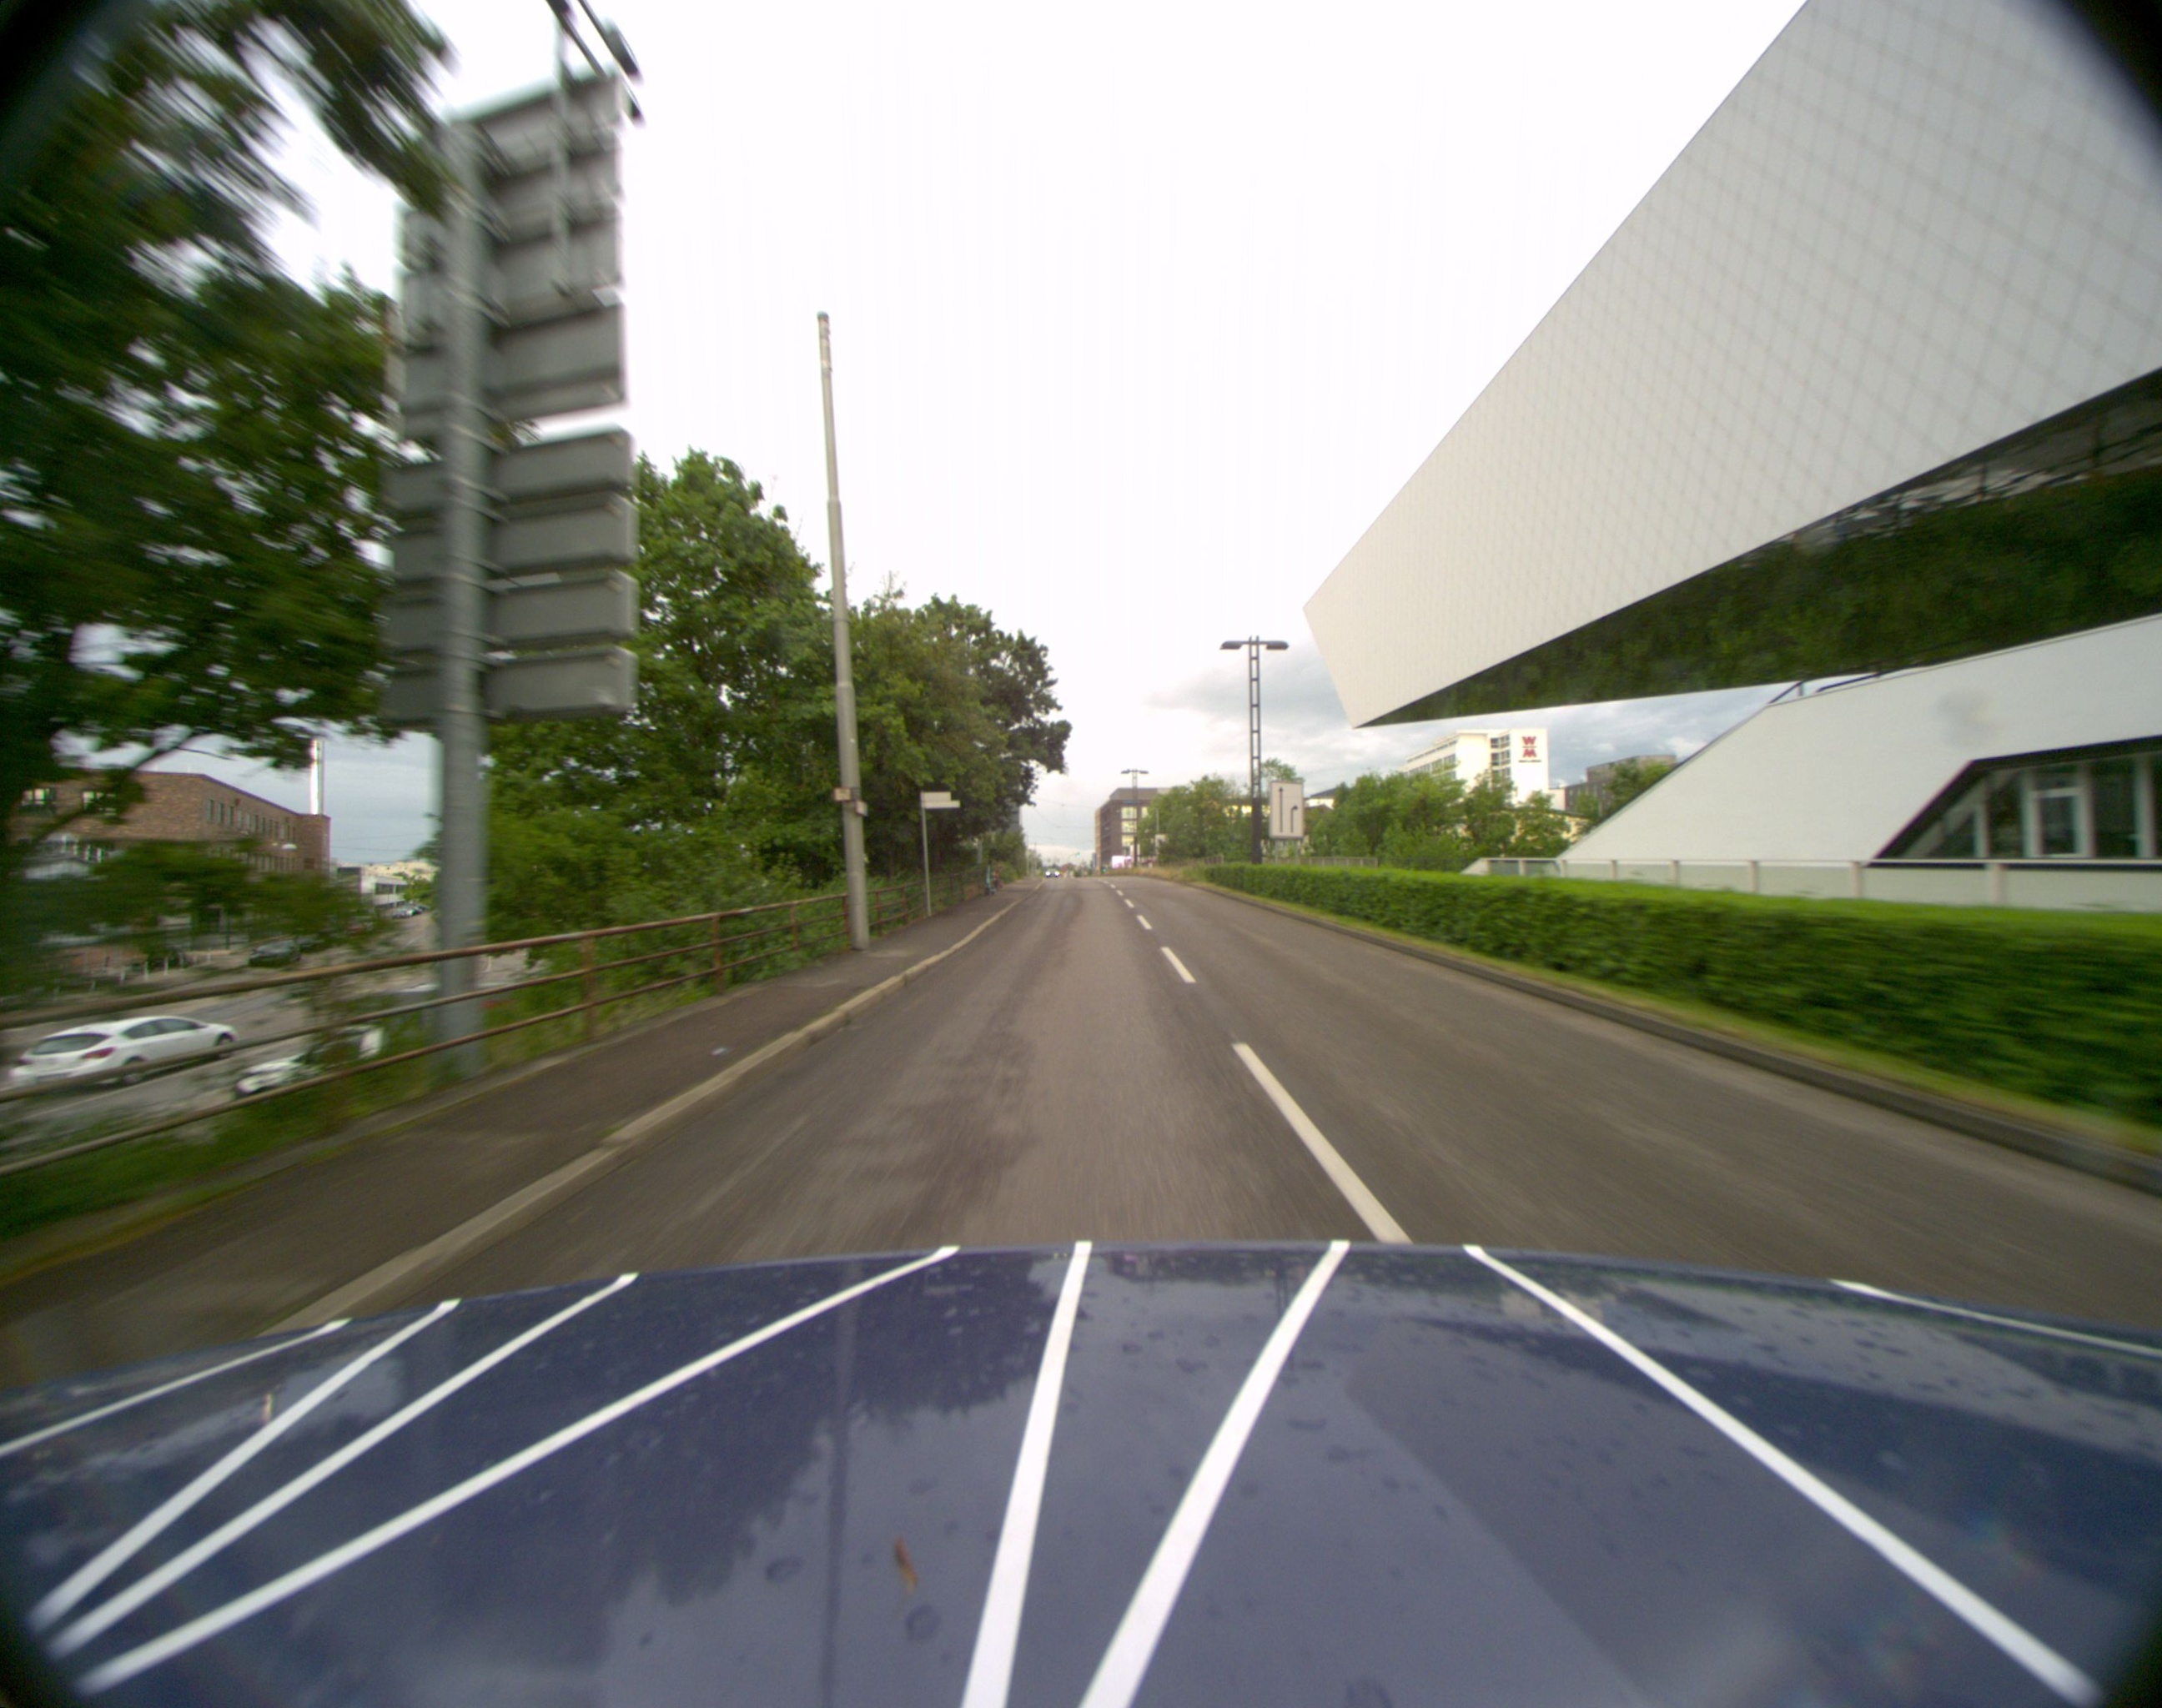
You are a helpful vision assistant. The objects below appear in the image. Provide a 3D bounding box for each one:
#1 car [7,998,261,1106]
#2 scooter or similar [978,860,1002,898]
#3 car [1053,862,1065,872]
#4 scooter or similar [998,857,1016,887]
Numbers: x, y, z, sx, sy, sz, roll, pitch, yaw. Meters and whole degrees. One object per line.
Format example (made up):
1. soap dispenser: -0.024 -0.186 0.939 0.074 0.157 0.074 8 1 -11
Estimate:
1. car: -23.053 4.734 18.812 1.749 1.415 4.444 -3 0 -18
2. scooter or similar: -3.091 0.818 25.964 0.539 1.225 1.844 -1 1 1
3. car: -3.564 2.098 121.198 1.841 1.574 4.288 -1 0 -1
4. scooter or similar: -3.108 0.748 31.874 0.574 1.201 1.468 -1 1 1
